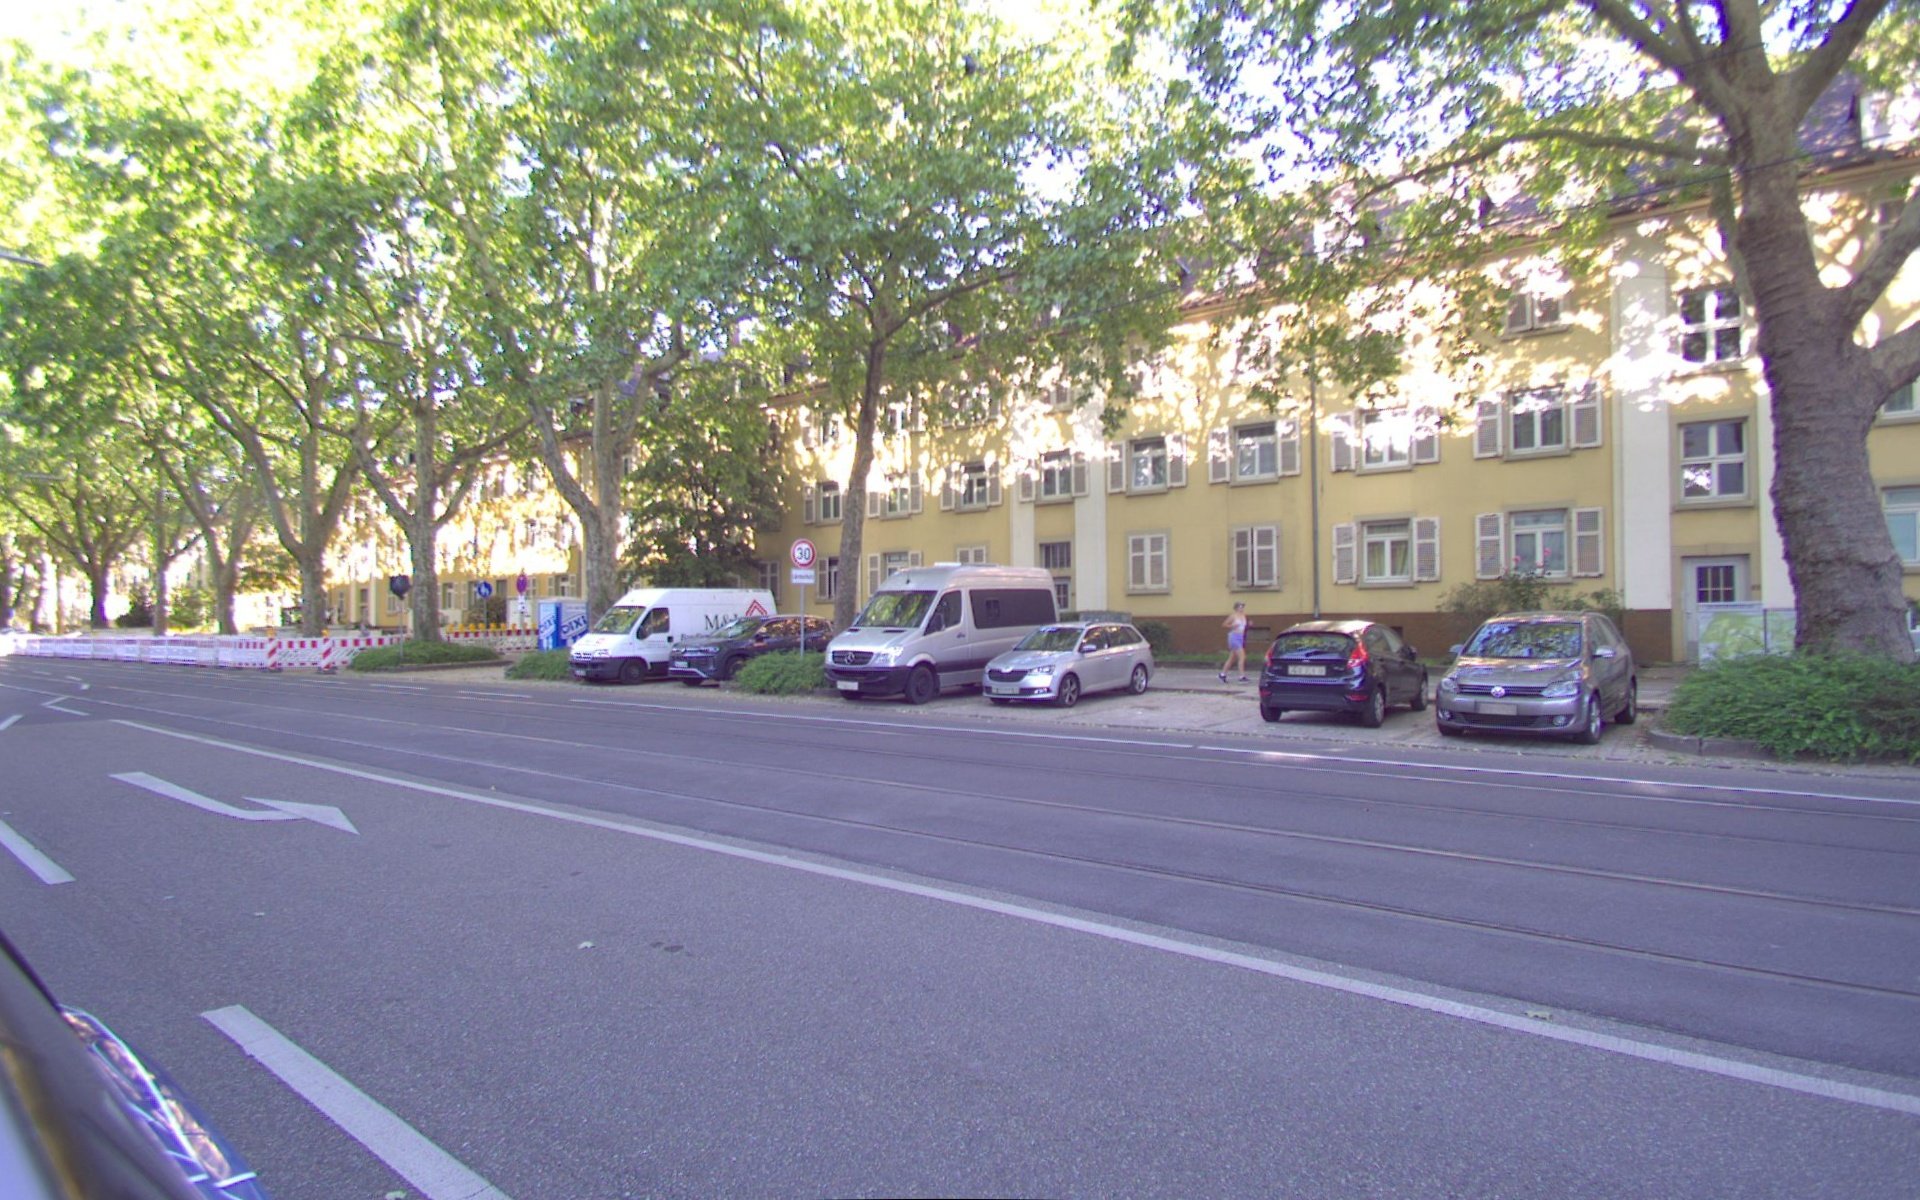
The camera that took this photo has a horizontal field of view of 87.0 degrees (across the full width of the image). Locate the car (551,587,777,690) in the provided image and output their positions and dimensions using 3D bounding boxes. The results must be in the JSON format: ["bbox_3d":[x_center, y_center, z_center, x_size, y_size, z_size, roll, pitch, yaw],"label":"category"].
[{"bbox_3d":[-7.564,0.966,26.378,2.222,2.394,5.336,-2,-2,40],"label":"car"}]

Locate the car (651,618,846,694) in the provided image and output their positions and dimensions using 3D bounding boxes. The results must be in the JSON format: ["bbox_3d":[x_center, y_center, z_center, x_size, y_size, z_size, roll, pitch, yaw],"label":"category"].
[{"bbox_3d":[-4.982,1.277,24.452,1.772,1.664,4.570,-2,-2,38],"label":"car"}]

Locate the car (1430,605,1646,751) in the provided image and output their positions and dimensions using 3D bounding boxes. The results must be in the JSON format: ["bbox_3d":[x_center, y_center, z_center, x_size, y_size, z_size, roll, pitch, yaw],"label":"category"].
[{"bbox_3d":[7.714,0.900,13.341,1.672,1.592,3.928,-2,-1,42],"label":"car"}]

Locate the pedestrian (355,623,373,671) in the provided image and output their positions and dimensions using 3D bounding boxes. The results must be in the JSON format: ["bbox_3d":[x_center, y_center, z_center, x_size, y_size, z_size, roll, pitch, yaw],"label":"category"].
[{"bbox_3d":[-22.279,1.740,37.823,0.573,1.759,0.654,-1,0,-32],"label":"pedestrian"}]

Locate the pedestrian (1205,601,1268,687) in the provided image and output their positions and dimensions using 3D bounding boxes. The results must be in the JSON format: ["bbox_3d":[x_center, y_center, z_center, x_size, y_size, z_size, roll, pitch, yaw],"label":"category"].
[{"bbox_3d":[5.559,0.865,20.372,0.956,1.673,0.763,-1,0,45],"label":"pedestrian"}]

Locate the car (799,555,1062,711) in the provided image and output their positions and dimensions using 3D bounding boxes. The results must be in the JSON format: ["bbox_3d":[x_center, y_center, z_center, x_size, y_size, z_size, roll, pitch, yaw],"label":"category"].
[{"bbox_3d":[-0.396,0.609,20.423,2.221,2.702,5.596,-2,-1,38],"label":"car"}]

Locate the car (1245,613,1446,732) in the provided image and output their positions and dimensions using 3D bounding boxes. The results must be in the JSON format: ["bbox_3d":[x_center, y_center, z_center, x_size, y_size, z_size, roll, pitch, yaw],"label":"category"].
[{"bbox_3d":[5.963,1.002,15.422,1.671,1.509,3.756,-2,-1,41],"label":"car"}]

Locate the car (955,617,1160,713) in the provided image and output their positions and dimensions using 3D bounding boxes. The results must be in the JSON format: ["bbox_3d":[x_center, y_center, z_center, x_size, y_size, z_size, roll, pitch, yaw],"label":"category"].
[{"bbox_3d":[1.909,1.122,18.839,1.773,1.509,4.031,-2,-1,41],"label":"car"}]
